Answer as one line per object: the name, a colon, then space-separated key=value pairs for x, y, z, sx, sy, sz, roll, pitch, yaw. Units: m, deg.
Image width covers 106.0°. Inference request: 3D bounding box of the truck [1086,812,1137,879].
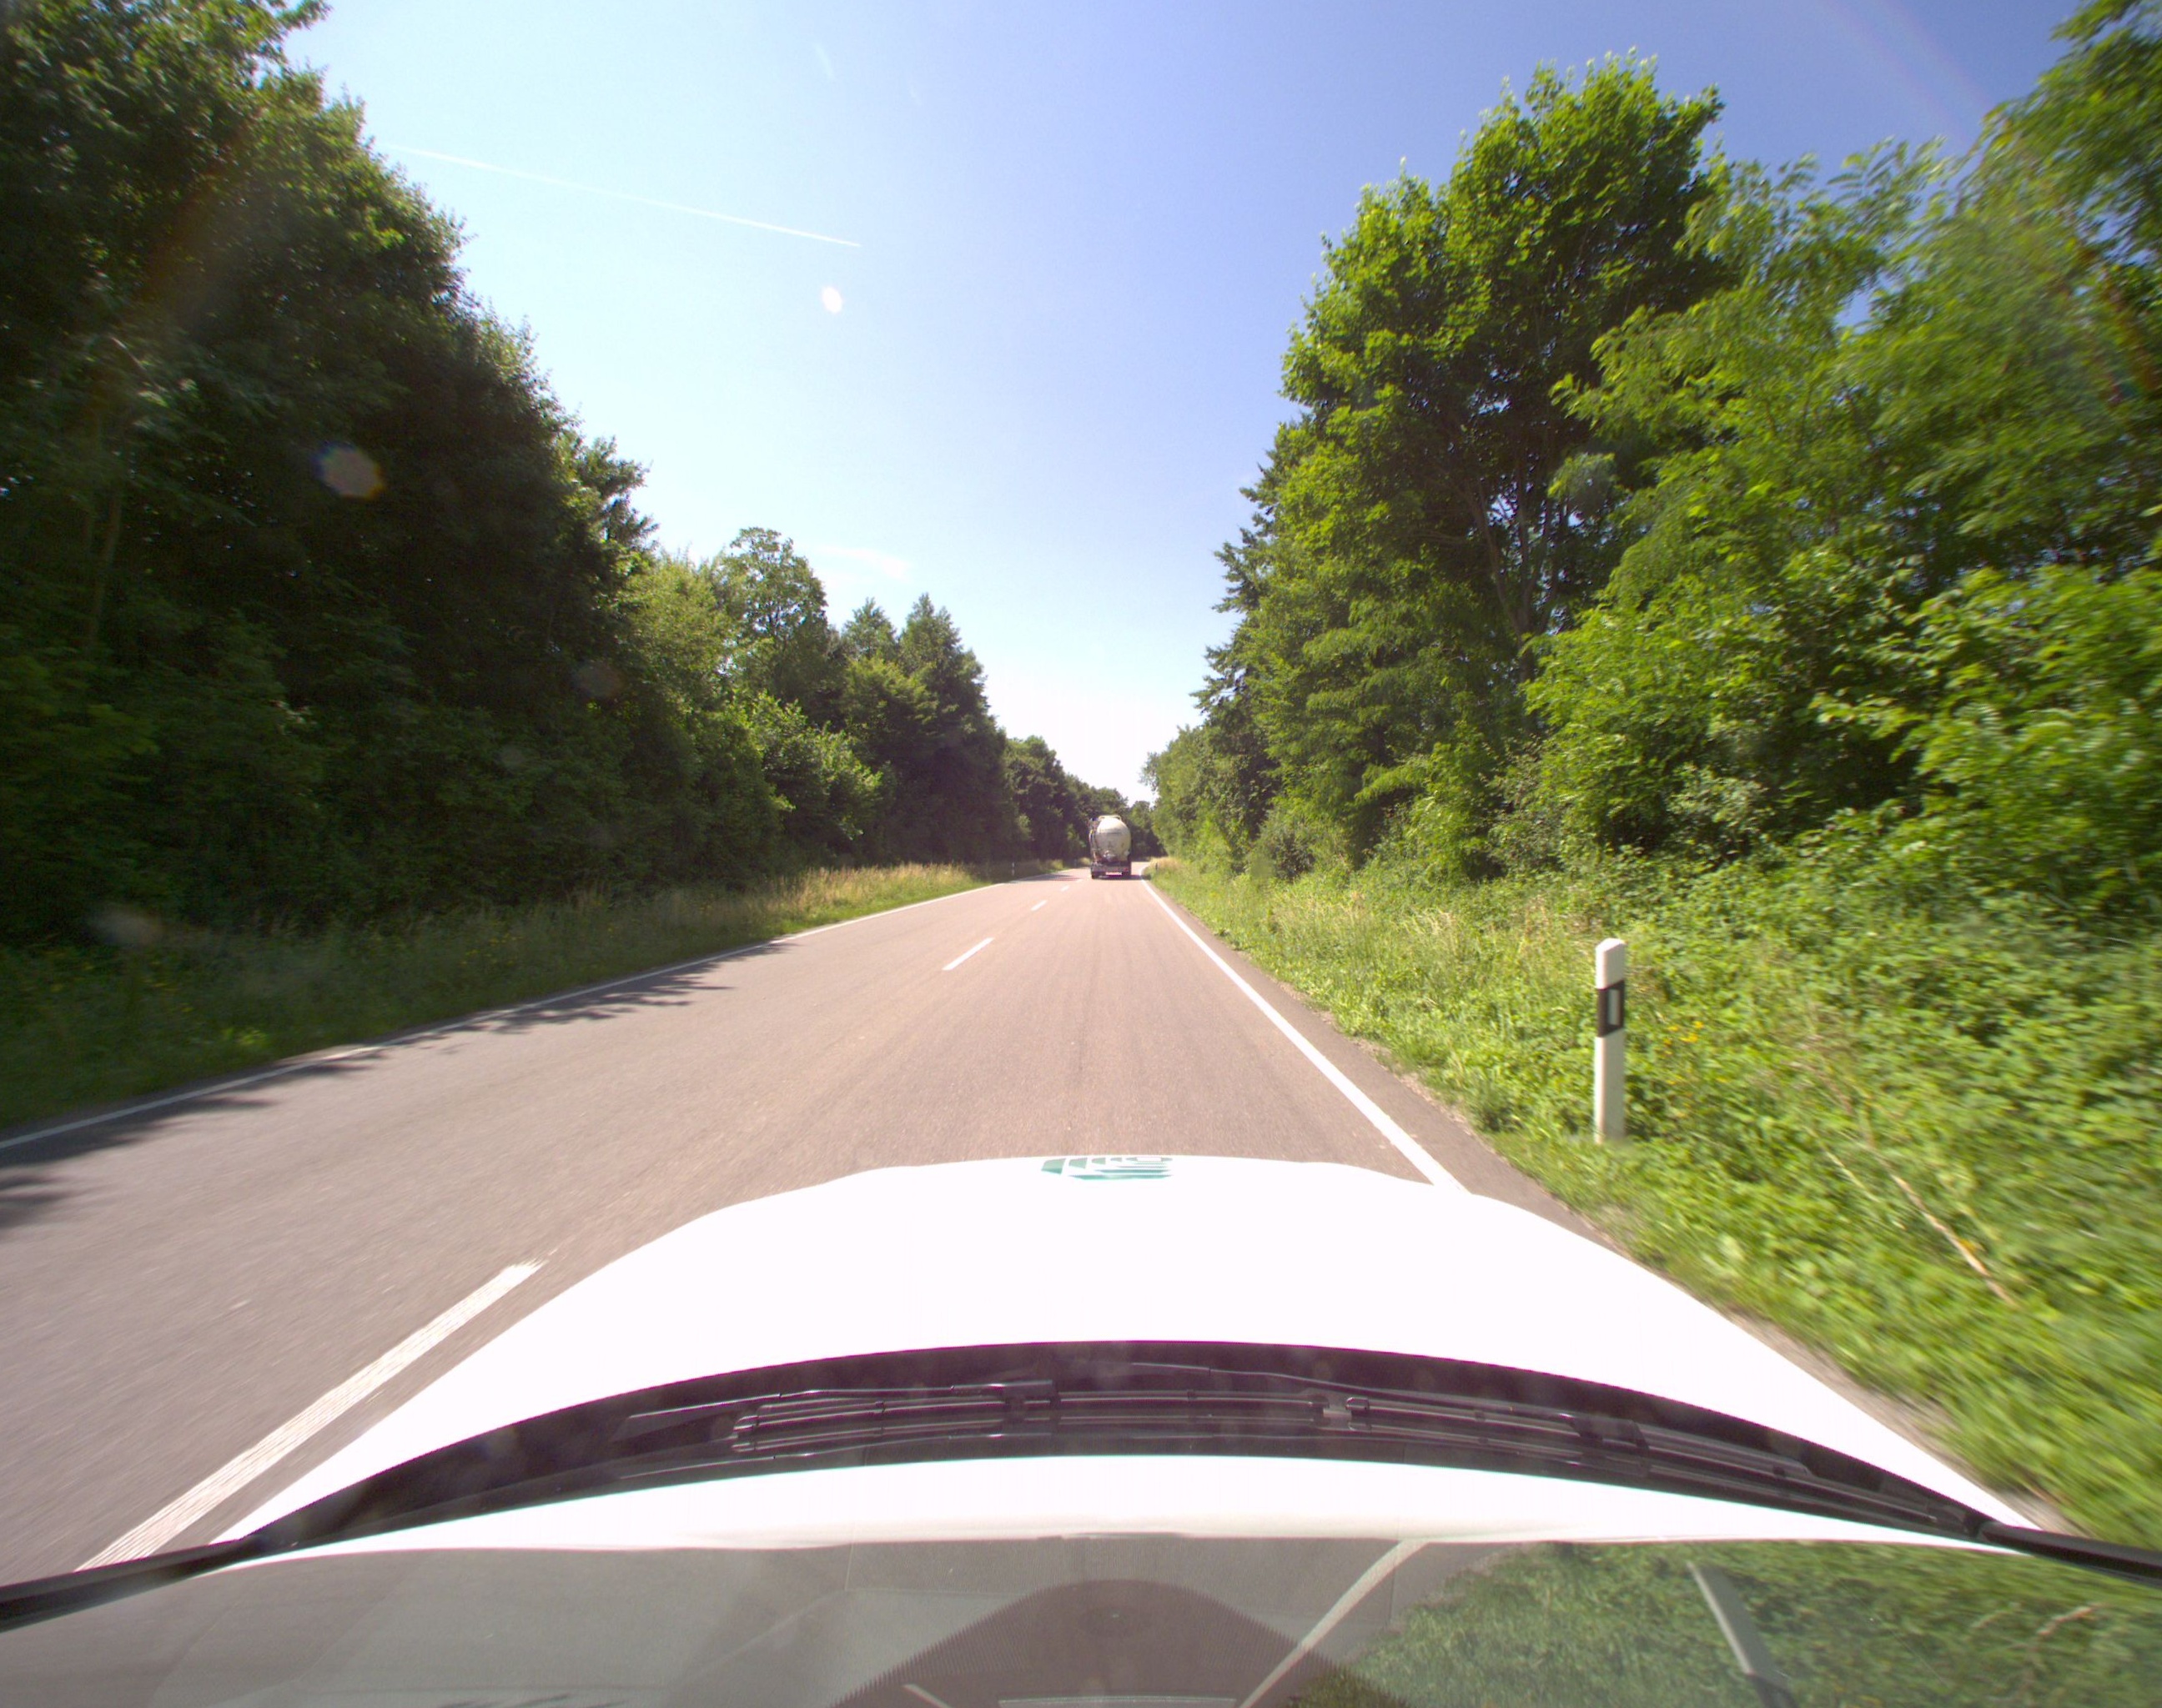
truck: x=2.050 y=-0.465 z=56.548 sx=3.038 sy=3.998 sz=15.642 roll=0 pitch=0 yaw=2
